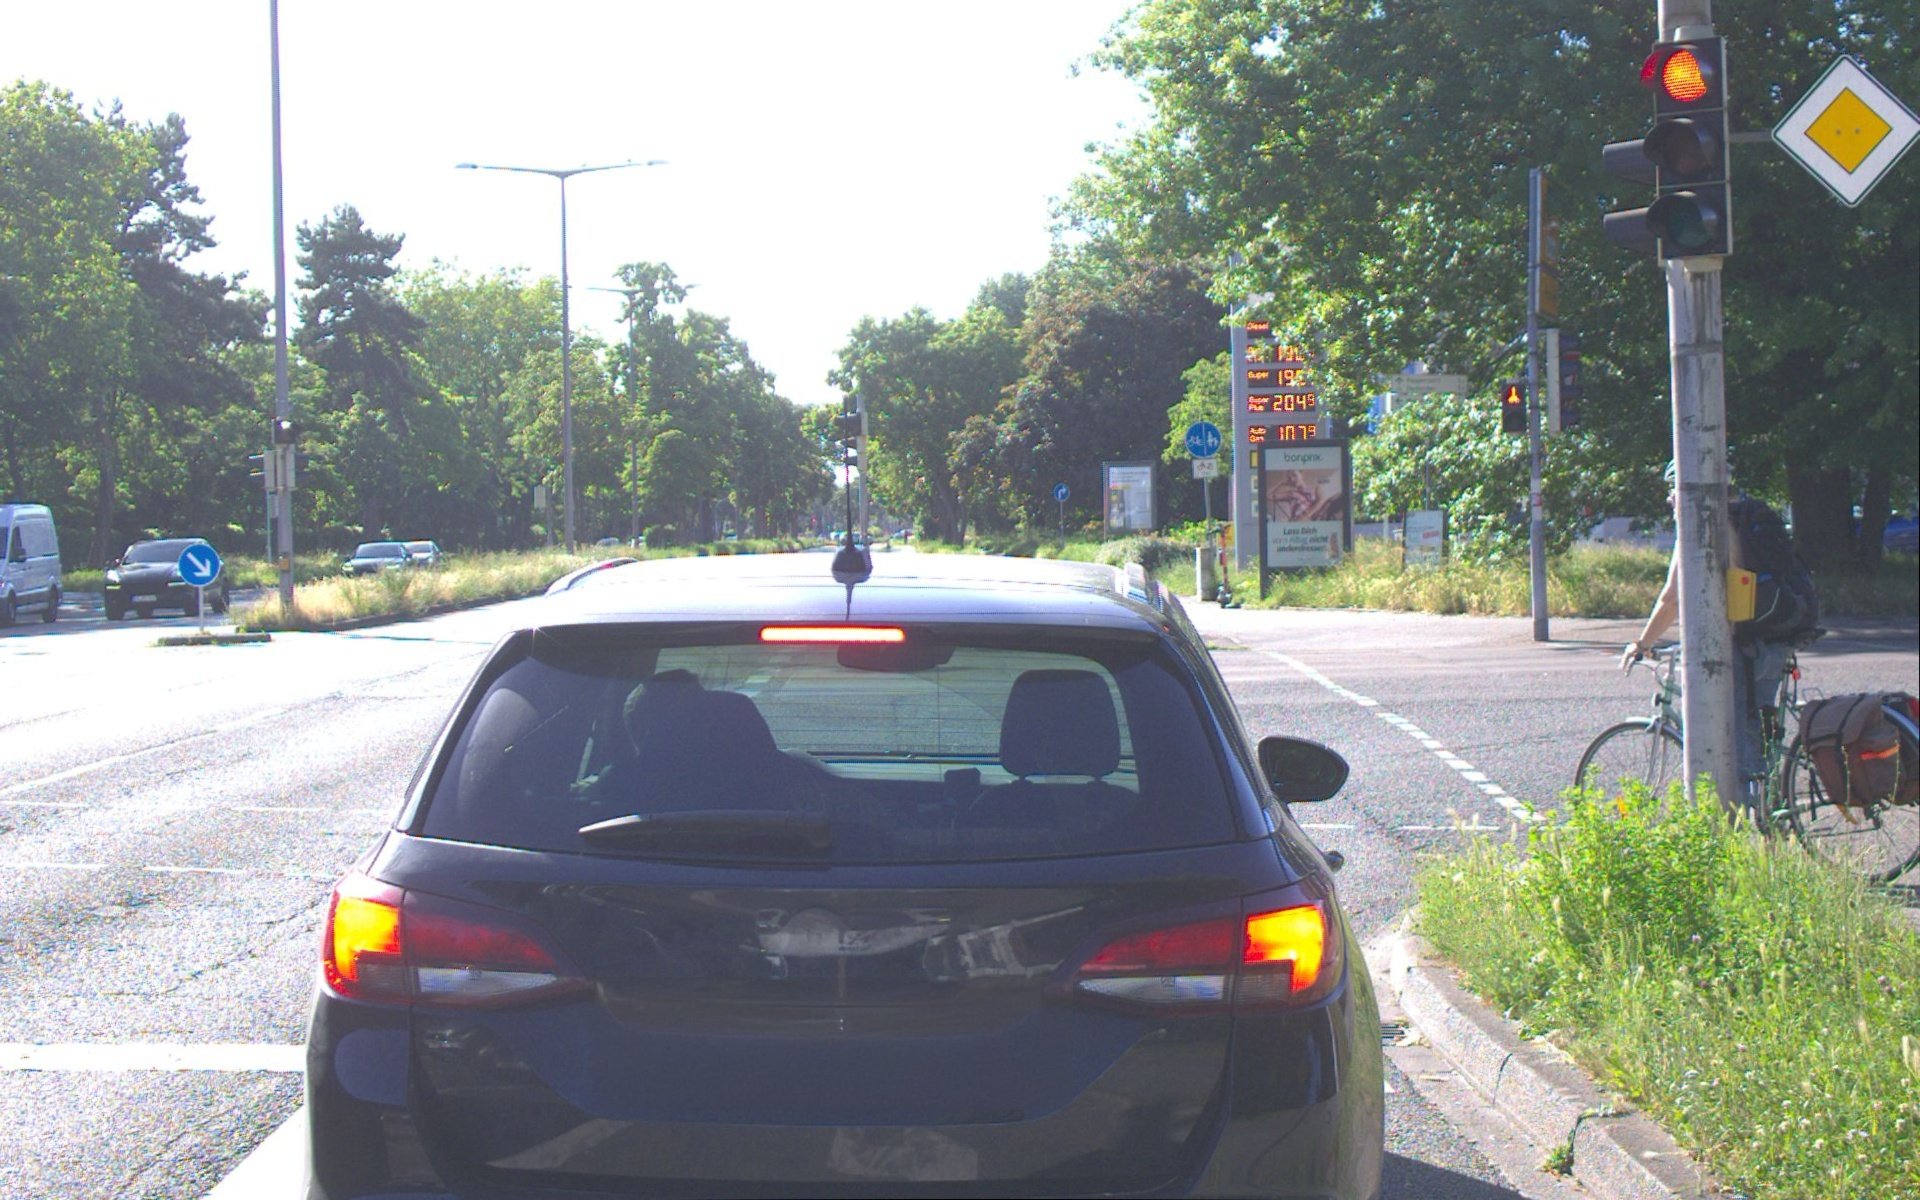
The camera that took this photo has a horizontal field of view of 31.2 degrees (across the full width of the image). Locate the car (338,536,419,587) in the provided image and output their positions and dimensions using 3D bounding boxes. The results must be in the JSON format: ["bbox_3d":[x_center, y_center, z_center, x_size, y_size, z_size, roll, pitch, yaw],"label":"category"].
[{"bbox_3d":[-17.763,-1.195,105.180,1.776,1.458,4.165,-1,1,-1],"label":"car"}]

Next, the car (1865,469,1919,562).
[{"bbox_3d":[17.096,-1.430,56.741,3.887,1.512,1.746,-2,1,-23],"label":"car"}]

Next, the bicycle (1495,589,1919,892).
[{"bbox_3d":[2.981,0.542,13.358,0.536,1.094,1.775,-3,0,-44],"label":"bicycle"}]

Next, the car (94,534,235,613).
[{"bbox_3d":[-17.101,-0.600,74.119,1.993,1.596,4.616,-1,1,-1],"label":"car"}]

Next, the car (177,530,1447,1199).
[{"bbox_3d":[-0.230,0.626,6.872,1.756,1.490,4.207,0,1,-1],"label":"car"}]

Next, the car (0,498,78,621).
[{"bbox_3d":[-20.325,-0.855,72.144,2.100,2.484,6.004,-2,1,-1],"label":"car"}]

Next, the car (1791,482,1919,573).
[{"bbox_3d":[16.620,-1.289,59.827,3.887,1.512,1.746,-2,1,-23],"label":"car"}]

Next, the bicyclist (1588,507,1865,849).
[{"bbox_3d":[2.975,0.300,13.358,0.536,1.272,0.829,-3,0,-44],"label":"bicyclist"}]
